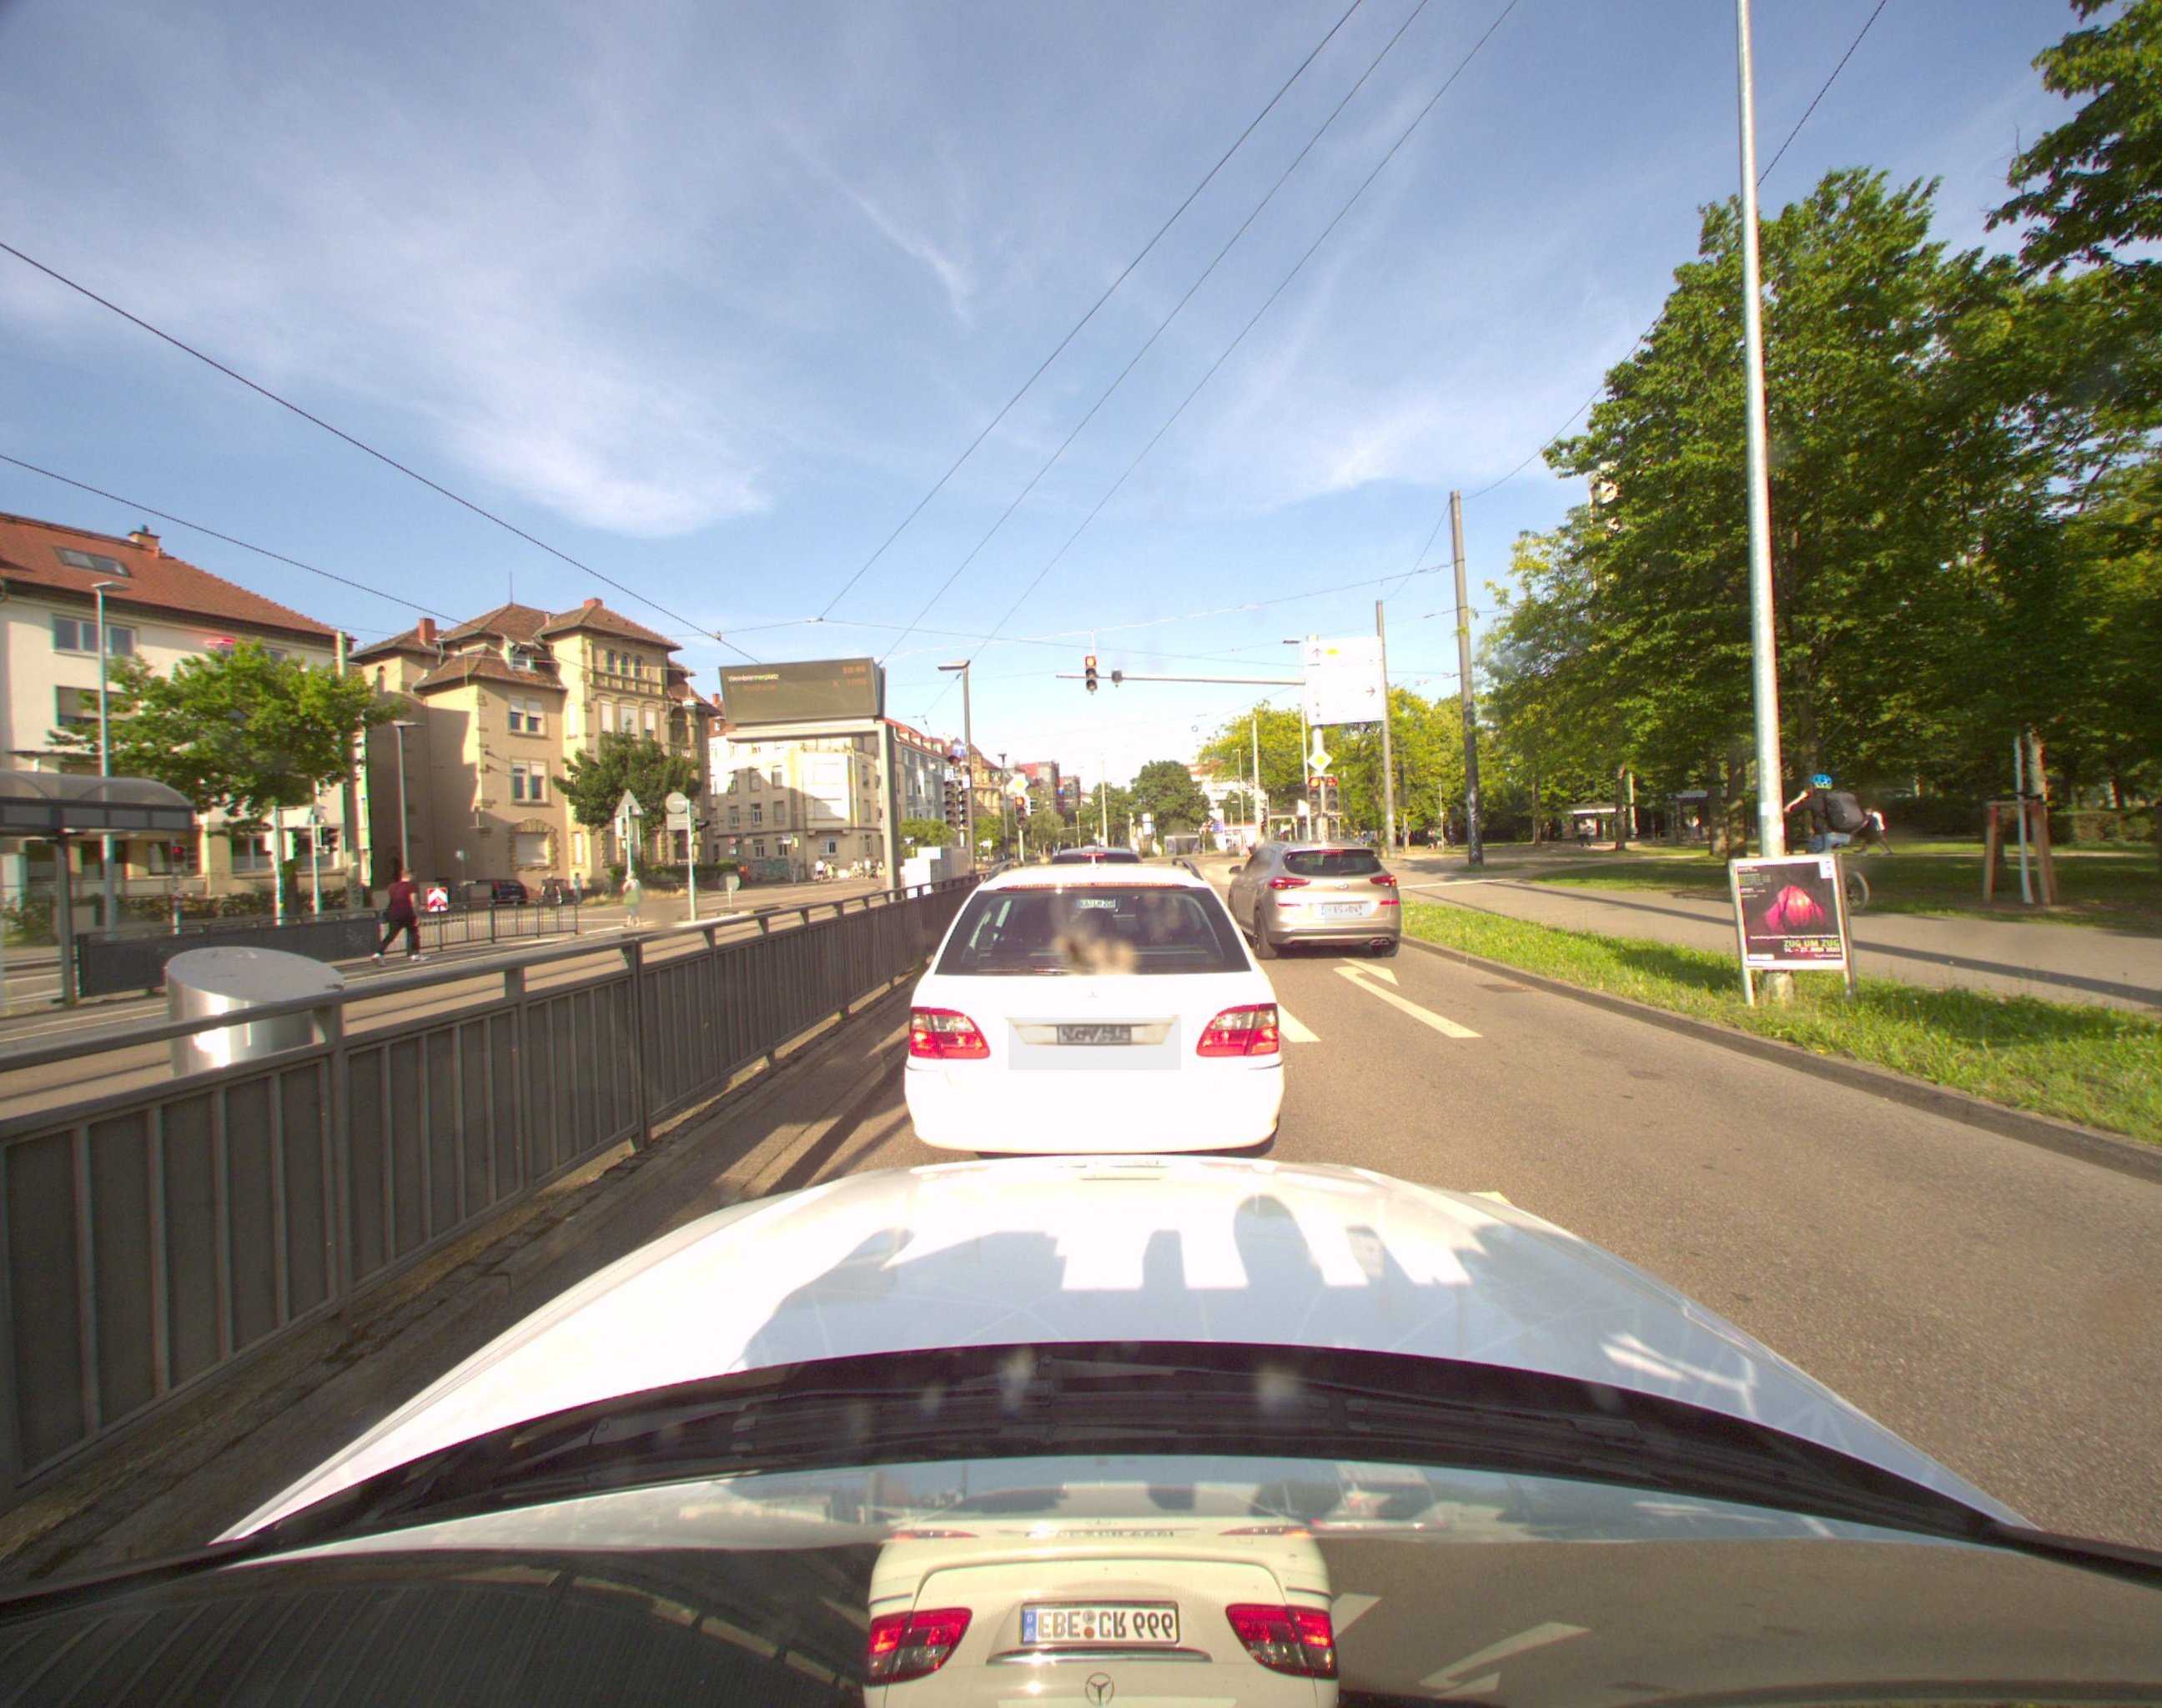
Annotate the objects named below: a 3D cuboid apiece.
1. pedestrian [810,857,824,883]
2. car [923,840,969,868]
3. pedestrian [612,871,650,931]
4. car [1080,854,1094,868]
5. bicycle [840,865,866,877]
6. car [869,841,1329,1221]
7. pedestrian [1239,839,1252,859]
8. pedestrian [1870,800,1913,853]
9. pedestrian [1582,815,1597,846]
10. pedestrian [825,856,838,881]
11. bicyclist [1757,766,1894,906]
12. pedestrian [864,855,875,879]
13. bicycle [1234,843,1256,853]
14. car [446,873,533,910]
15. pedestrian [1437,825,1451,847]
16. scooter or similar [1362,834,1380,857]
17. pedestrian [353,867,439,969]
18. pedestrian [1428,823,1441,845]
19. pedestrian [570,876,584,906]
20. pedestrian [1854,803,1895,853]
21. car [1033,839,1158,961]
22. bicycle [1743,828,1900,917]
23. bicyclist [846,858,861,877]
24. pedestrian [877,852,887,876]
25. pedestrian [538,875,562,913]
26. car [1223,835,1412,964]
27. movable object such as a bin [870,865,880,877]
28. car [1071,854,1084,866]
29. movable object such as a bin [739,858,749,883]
[{"bbox_3d":[-19.629,1.173,60.540,0.653,1.881,0.629,-3,0,16],"label":"pedestrian"},{"bbox_3d":[-10.652,-0.049,64.643,2.134,2.013,5.397,-3,0,6],"label":"car"},{"bbox_3d":[-12.555,1.300,22.739,0.588,1.589,0.715,-3,0,-2],"label":"pedestrian"},{"bbox_3d":[1.043,1.180,138.169,2.168,2.239,5.257,-3,0,3],"label":"car"},{"bbox_3d":[-19.909,1.477,71.117,1.987,1.006,0.741,-3,0,-5],"label":"bicycle"},{"bbox_3d":[0.130,0.708,5.191,1.828,1.501,3.817,-1,0,2],"label":"car"},{"bbox_3d":[16.491,-0.505,81.690,0.986,2.013,0.833,-3,0,29],"label":"pedestrian"},{"bbox_3d":[29.467,-0.981,29.624,0.668,1.897,0.880,-1,0,3],"label":"pedestrian"},{"bbox_3d":[30.969,-1.430,49.617,0.463,1.868,0.600,0,-1,-26],"label":"pedestrian"},{"bbox_3d":[-18.543,1.080,60.506,0.672,1.848,0.649,-3,0,-1],"label":"pedestrian"},{"bbox_3d":[10.141,-0.234,11.147,0.716,1.745,1.142,-6,0,5],"label":"bicyclist"},{"bbox_3d":[-16.990,1.005,65.358,0.581,1.881,0.628,-3,0,7],"label":"pedestrian"},{"bbox_3d":[17.031,-0.625,84.487,2.000,0.947,0.884,-3,0,21],"label":"bicycle"},{"bbox_3d":[-29.415,1.878,40.519,3.950,1.632,1.787,-3,1,26],"label":"car"},{"bbox_3d":[27.668,-1.354,62.075,0.638,1.665,0.691,-3,0,1],"label":"pedestrian"},{"bbox_3d":[16.116,-0.450,45.225,0.351,1.232,1.131,-3,0,-12],"label":"scooter or similar"},{"bbox_3d":[-11.824,1.081,14.087,0.668,1.670,0.883,-3,0,-1],"label":"pedestrian"},{"bbox_3d":[27.443,-1.539,63.256,0.638,1.665,0.691,-3,0,1],"label":"pedestrian"},{"bbox_3d":[-25.736,1.877,41.552,0.400,1.515,0.392,-3,0,28],"label":"pedestrian"},{"bbox_3d":[28.715,-0.927,29.482,0.668,1.777,0.881,-1,0,3],"label":"pedestrian"},{"bbox_3d":[0.249,0.605,12.780,1.635,1.600,3.817,-1,0,2],"label":"car"},{"bbox_3d":[10.168,0.227,11.274,0.637,1.088,1.736,-5,0,6],"label":"bicycle"},{"bbox_3d":[-19.852,1.171,71.112,1.037,1.569,0.661,-3,0,-3],"label":"bicyclist"},{"bbox_3d":[-15.981,0.789,65.349,0.582,1.880,0.626,-3,3,-1],"label":"pedestrian"},{"bbox_3d":[-23.891,1.785,36.640,0.672,1.651,0.608,-3,0,28],"label":"pedestrian"},{"bbox_3d":[3.343,0.574,12.293,1.828,1.600,3.817,-1,0,2],"label":"car"},{"bbox_3d":[-16.733,1.402,66.233,0.581,0.947,0.663,-3,0,0],"label":"movable object such as a bin"},{"bbox_3d":[-0.525,0.873,122.901,1.670,1.525,4.128,-3,1,3],"label":"car"},{"bbox_3d":[-23.433,1.123,56.631,0.265,1.709,2.360,-3,0,-29],"label":"movable object such as a bin"}]
